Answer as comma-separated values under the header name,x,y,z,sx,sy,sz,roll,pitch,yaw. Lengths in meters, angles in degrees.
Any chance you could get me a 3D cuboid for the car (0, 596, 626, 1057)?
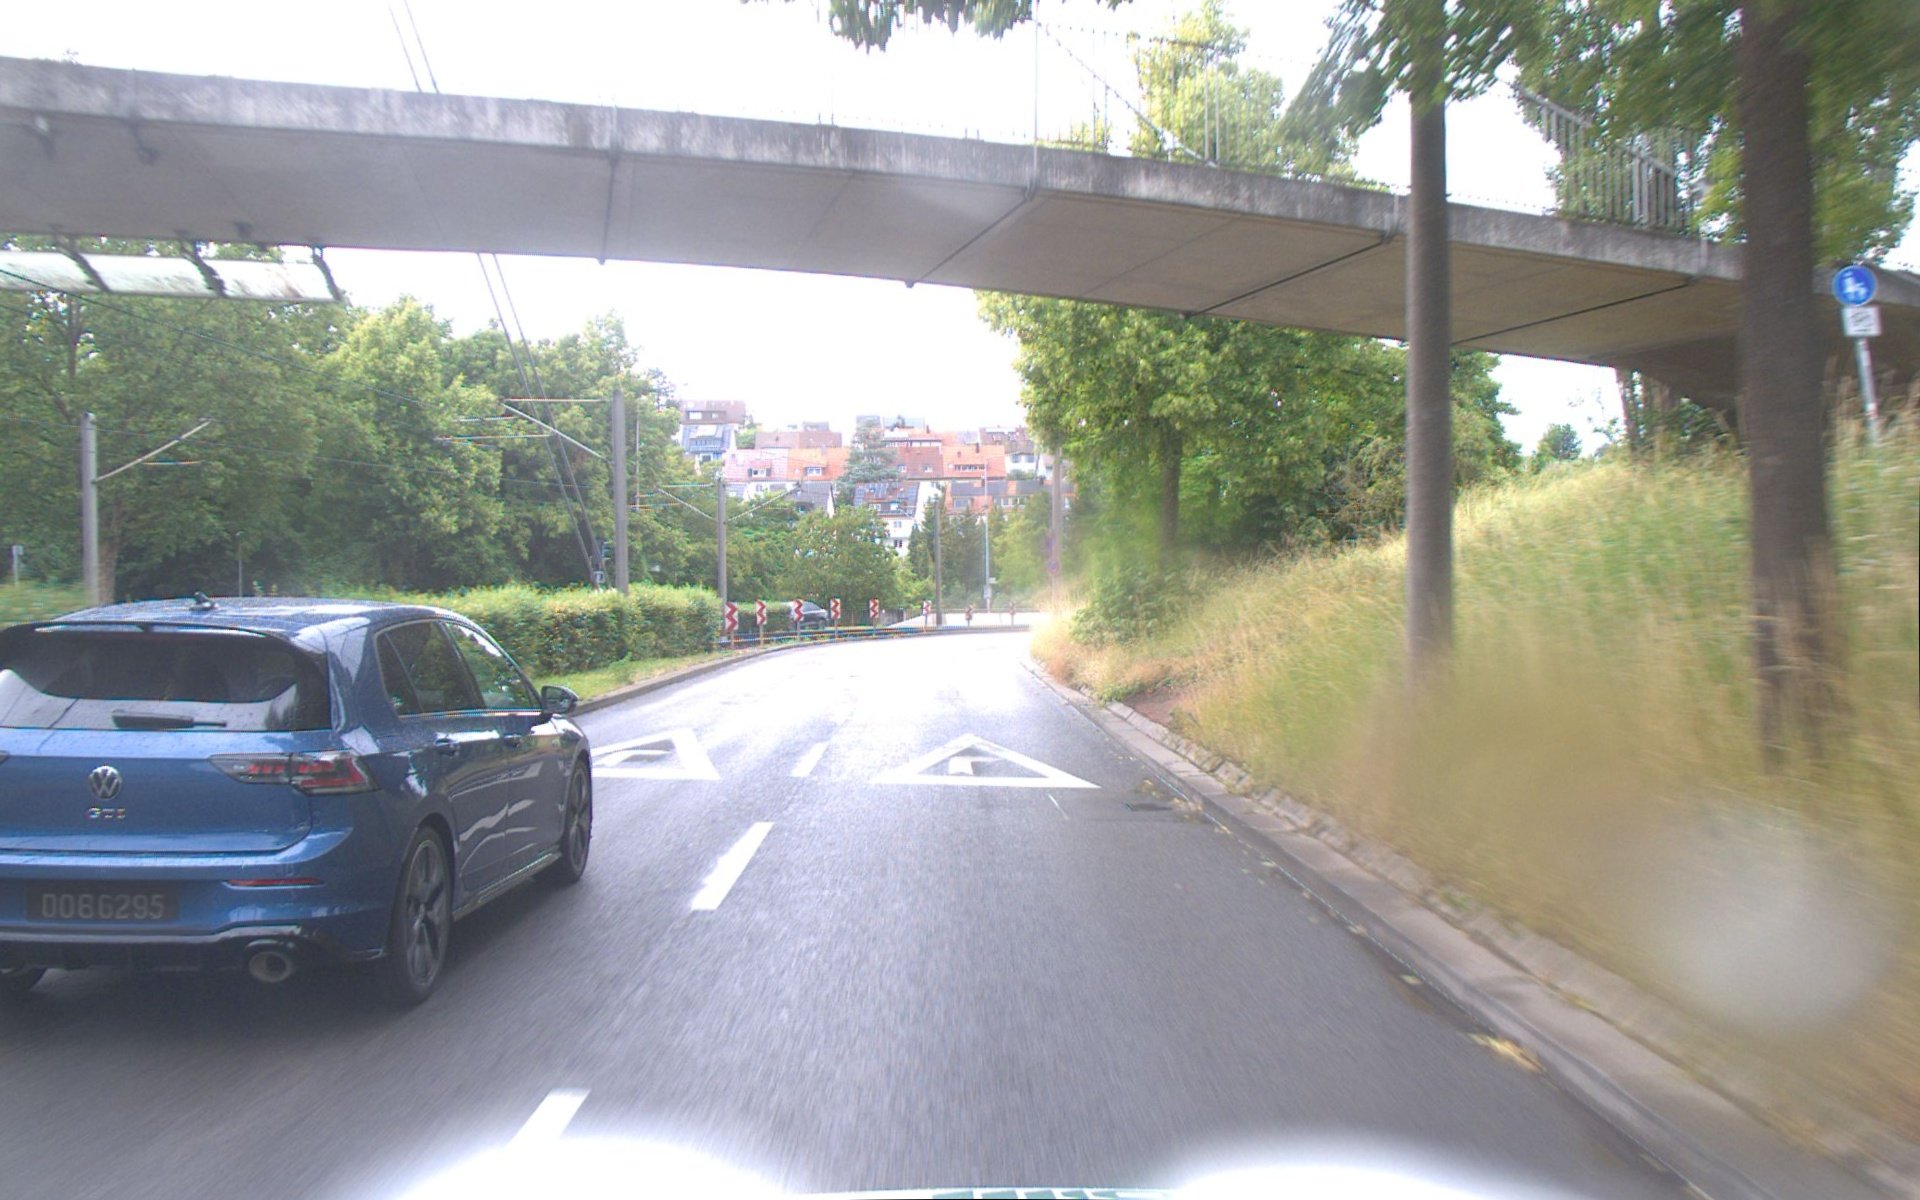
name,x,y,z,sx,sy,sz,roll,pitch,yaw
car,-2.785,0.702,7.268,1.771,1.402,4.346,1,0,-1
